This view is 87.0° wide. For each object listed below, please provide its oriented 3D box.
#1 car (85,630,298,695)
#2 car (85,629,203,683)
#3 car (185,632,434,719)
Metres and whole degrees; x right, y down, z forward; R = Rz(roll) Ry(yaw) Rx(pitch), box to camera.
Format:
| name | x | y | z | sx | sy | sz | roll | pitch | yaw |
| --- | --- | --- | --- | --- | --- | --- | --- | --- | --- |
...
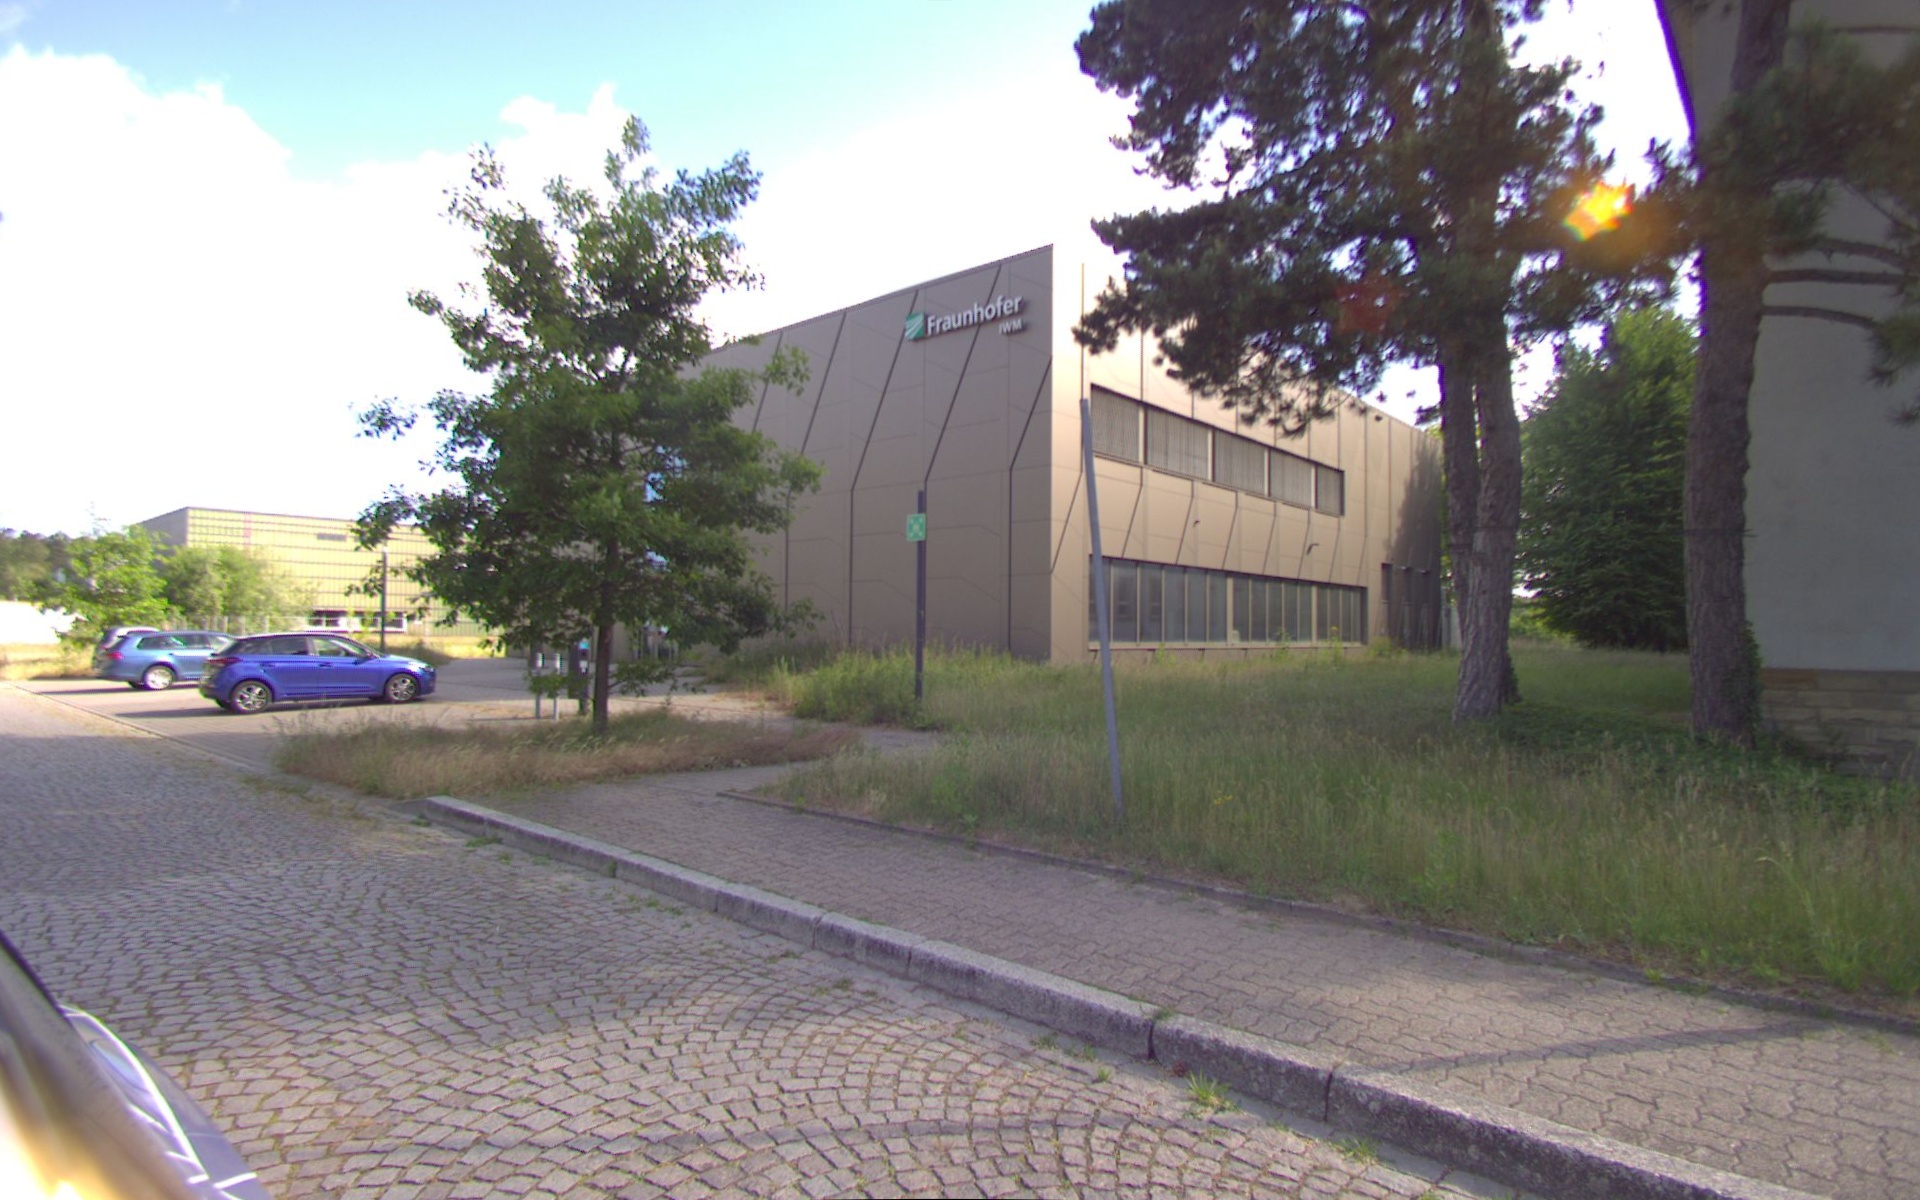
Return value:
| name | x | y | z | sx | sy | sz | roll | pitch | yaw |
| --- | --- | --- | --- | --- | --- | --- | --- | --- | --- |
| car | -19.870 | 1.553 | 26.305 | 1.733 | 1.485 | 4.127 | -1 | -2 | 39 |
| car | -25.262 | 1.692 | 31.358 | 1.480 | 1.580 | 2.619 | -2 | -2 | 40 |
| car | -12.786 | 1.413 | 20.052 | 1.735 | 1.479 | 3.865 | -2 | -2 | 44 |
